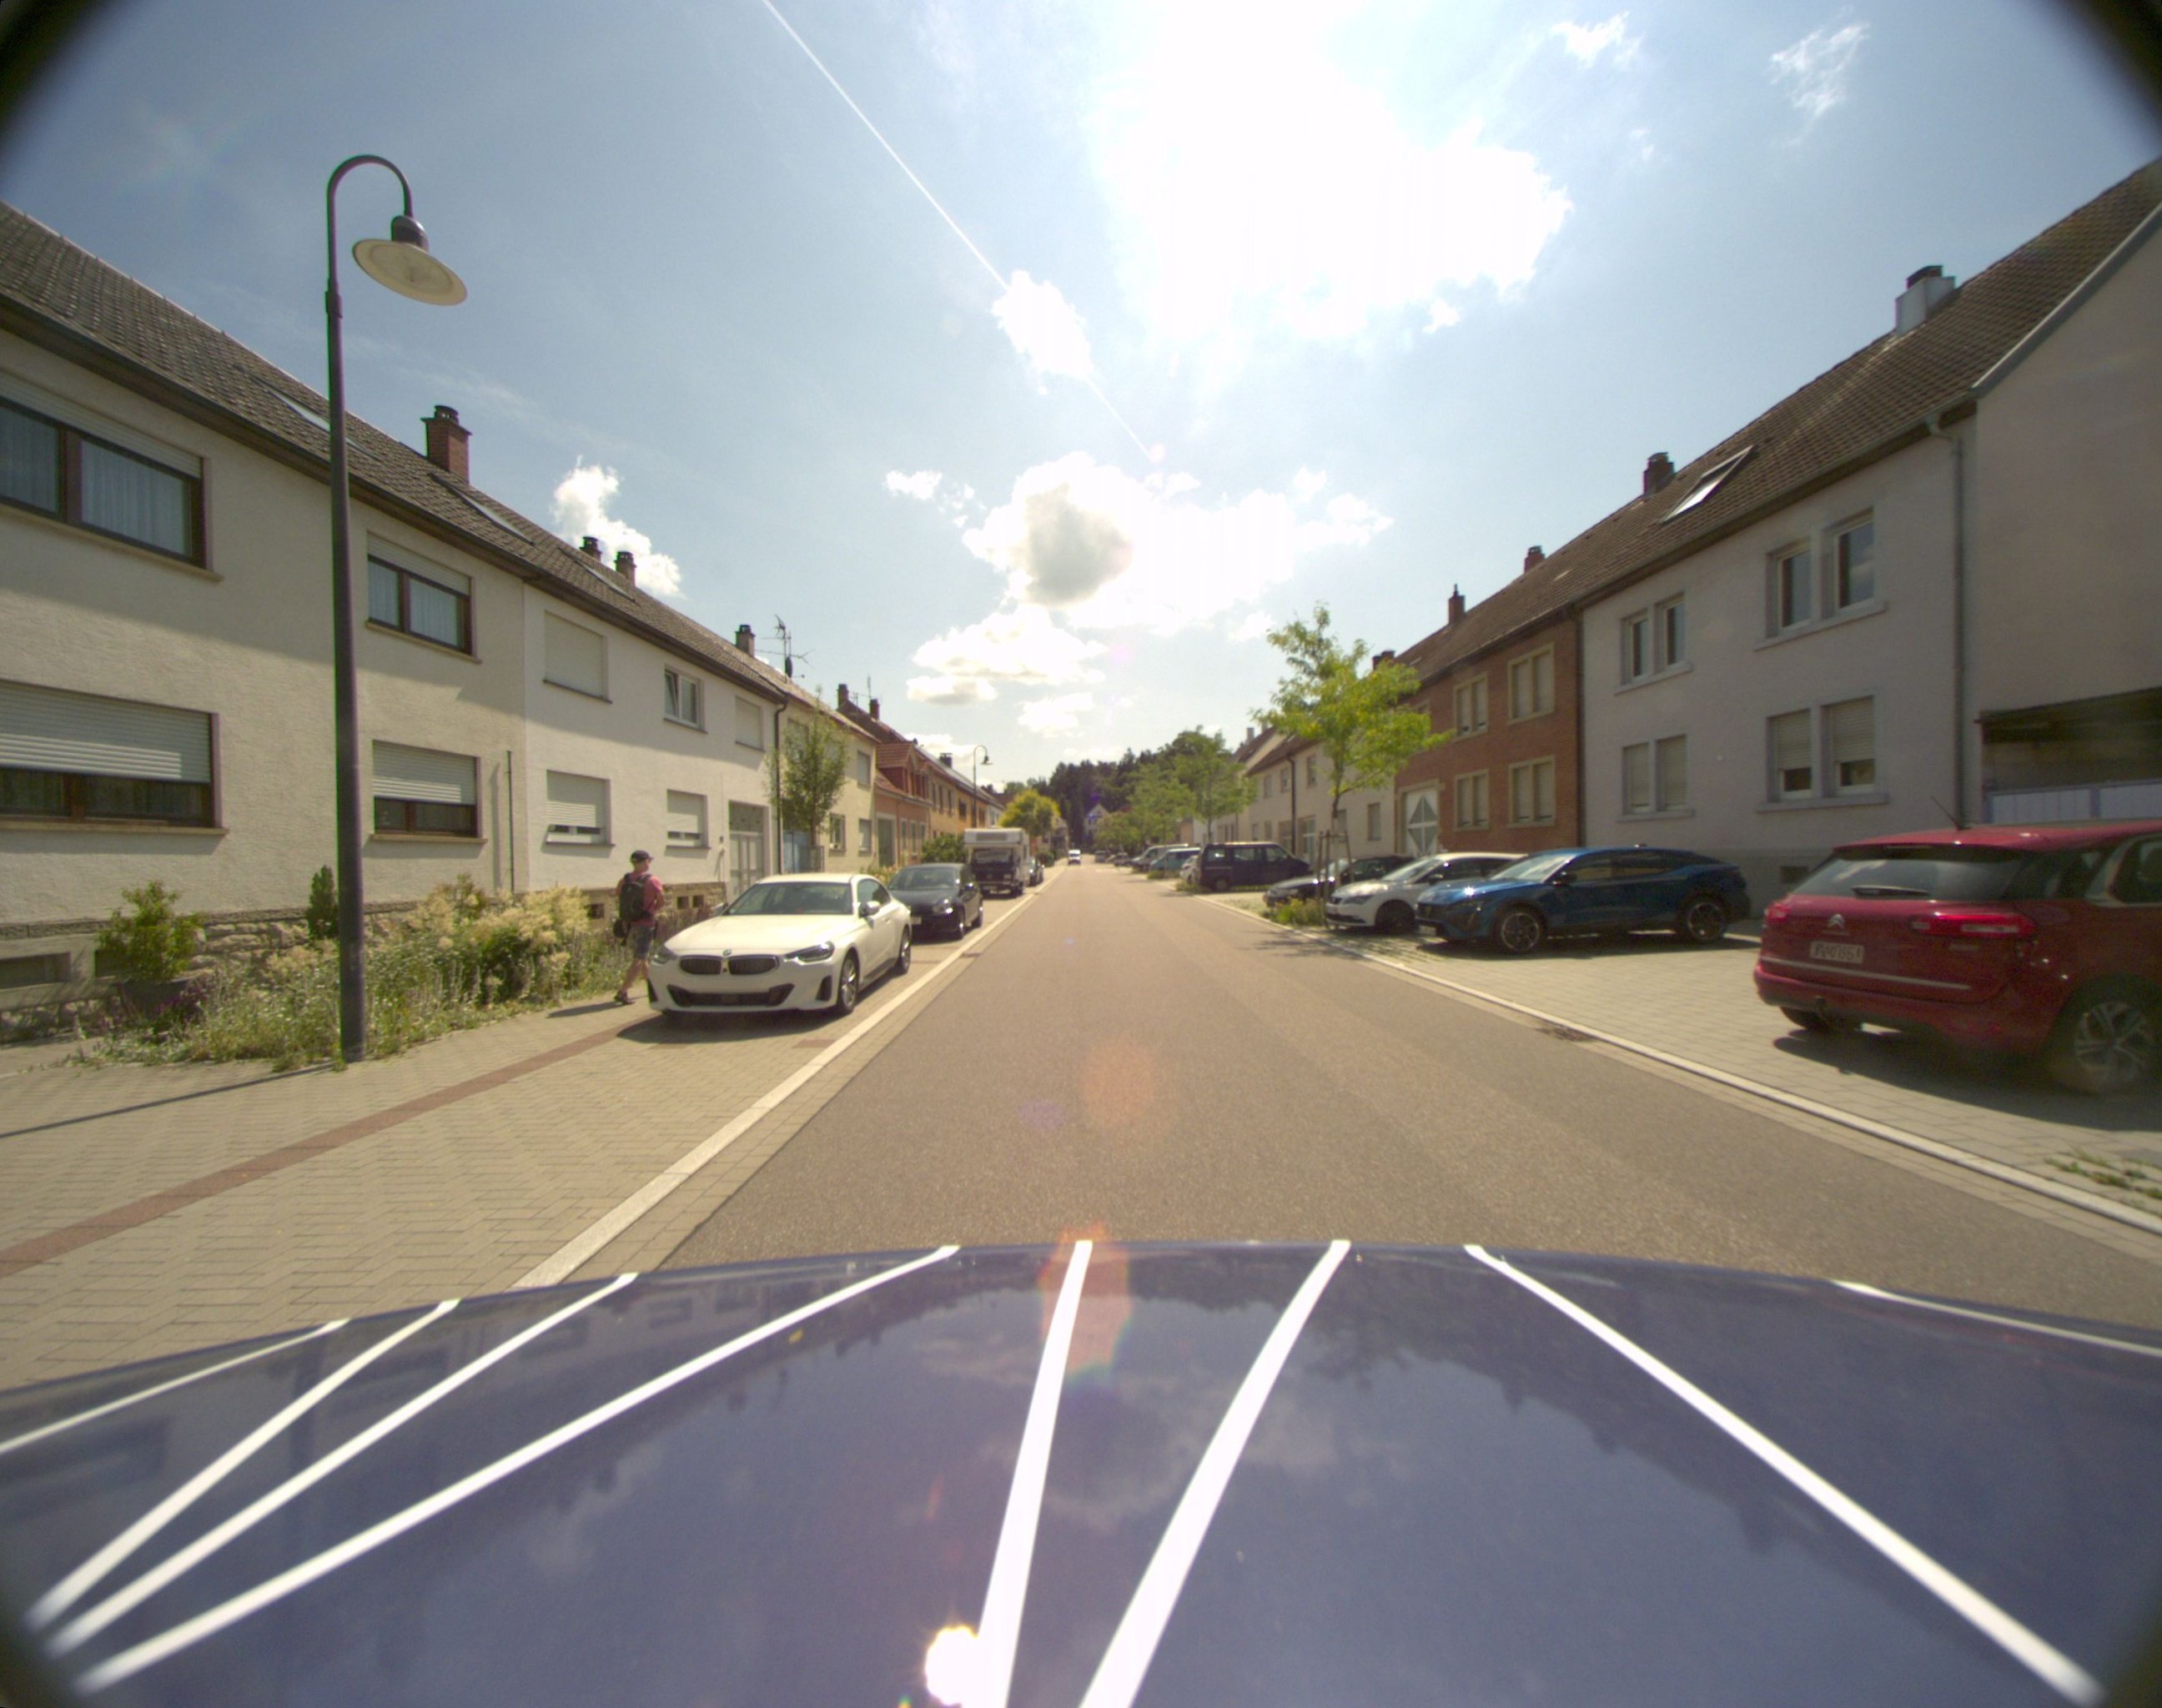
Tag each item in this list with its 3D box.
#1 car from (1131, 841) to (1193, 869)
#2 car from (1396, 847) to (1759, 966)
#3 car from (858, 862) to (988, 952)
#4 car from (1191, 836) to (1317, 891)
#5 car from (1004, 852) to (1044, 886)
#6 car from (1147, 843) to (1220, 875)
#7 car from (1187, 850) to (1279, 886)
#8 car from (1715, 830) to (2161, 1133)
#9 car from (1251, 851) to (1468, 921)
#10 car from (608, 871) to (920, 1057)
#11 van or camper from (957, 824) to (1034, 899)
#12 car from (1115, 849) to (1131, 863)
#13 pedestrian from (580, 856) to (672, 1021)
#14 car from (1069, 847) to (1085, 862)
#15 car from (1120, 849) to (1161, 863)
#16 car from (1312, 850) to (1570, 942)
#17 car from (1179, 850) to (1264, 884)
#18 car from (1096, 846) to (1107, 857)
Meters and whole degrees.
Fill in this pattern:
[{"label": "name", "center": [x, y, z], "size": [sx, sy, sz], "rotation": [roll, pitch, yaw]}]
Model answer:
[{"label": "car", "center": [7.258, 0.074, 68.321], "size": [5.180, 2.275, 2.157], "rotation": [-3, 1, -2]}, {"label": "car", "center": [7.379, 0.731, 11.564], "size": [4.416, 1.469, 1.775], "rotation": [-2, 1, -3]}, {"label": "car", "center": [-3.122, 0.995, 15.831], "size": [1.771, 1.521, 4.007], "rotation": [-2, 0, 1]}, {"label": "car", "center": [6.935, 0.359, 30.793], "size": [4.624, 1.985, 1.953], "rotation": [-2, 1, 2]}, {"label": "car", "center": [-3.075, 0.787, 41.528], "size": [1.771, 1.695, 4.324], "rotation": [-2, 0, 1]}, {"label": "car", "center": [6.966, 0.300, 51.986], "size": [4.688, 1.896, 2.000], "rotation": [-3, 1, 1]}, {"label": "car", "center": [7.040, 0.626, 35.393], "size": [3.925, 1.480, 1.773], "rotation": [-2, 1, 2]}, {"label": "car", "center": [7.252, 0.677, 5.201], "size": [4.264, 1.602, 1.842], "rotation": [-2, 1, 0]}, {"label": "car", "center": [6.602, 0.738, 18.343], "size": [4.535, 1.417, 1.795], "rotation": [-2, 1, 0]}, {"label": "car", "center": [-3.257, 1.014, 8.940], "size": [1.837, 1.457, 4.518], "rotation": [-2, 0, -2]}, {"label": "van or camper", "center": [-3.348, 0.280, 31.063], "size": [2.479, 2.793, 5.790], "rotation": [0, 0, 0]}, {"label": "car", "center": [5.632, 0.227, 102.010], "size": [1.844, 1.737, 4.687], "rotation": [-3, -1, 2]}, {"label": "pedestrian", "center": [-5.017, 0.900, 8.420], "size": [0.558, 1.739, 0.673], "rotation": [-1, 1, 1]}, {"label": "car", "center": [-0.663, 0.050, 128.136], "size": [2.489, 2.306, 5.599], "rotation": [-3, 1, 0]}, {"label": "car", "center": [7.047, 0.240, 90.114], "size": [4.598, 1.508, 1.901], "rotation": [-2, 1, 0]}, {"label": "car", "center": [6.734, 0.743, 14.508], "size": [4.065, 1.469, 1.775], "rotation": [-2, 1, -2]}, {"label": "car", "center": [6.976, 0.631, 38.035], "size": [3.925, 1.480, 1.773], "rotation": [-2, 1, 2]}, {"label": "car", "center": [3.932, -0.513, 146.363], "size": [1.999, 1.968, 3.999], "rotation": [-1, 1, -1]}]
